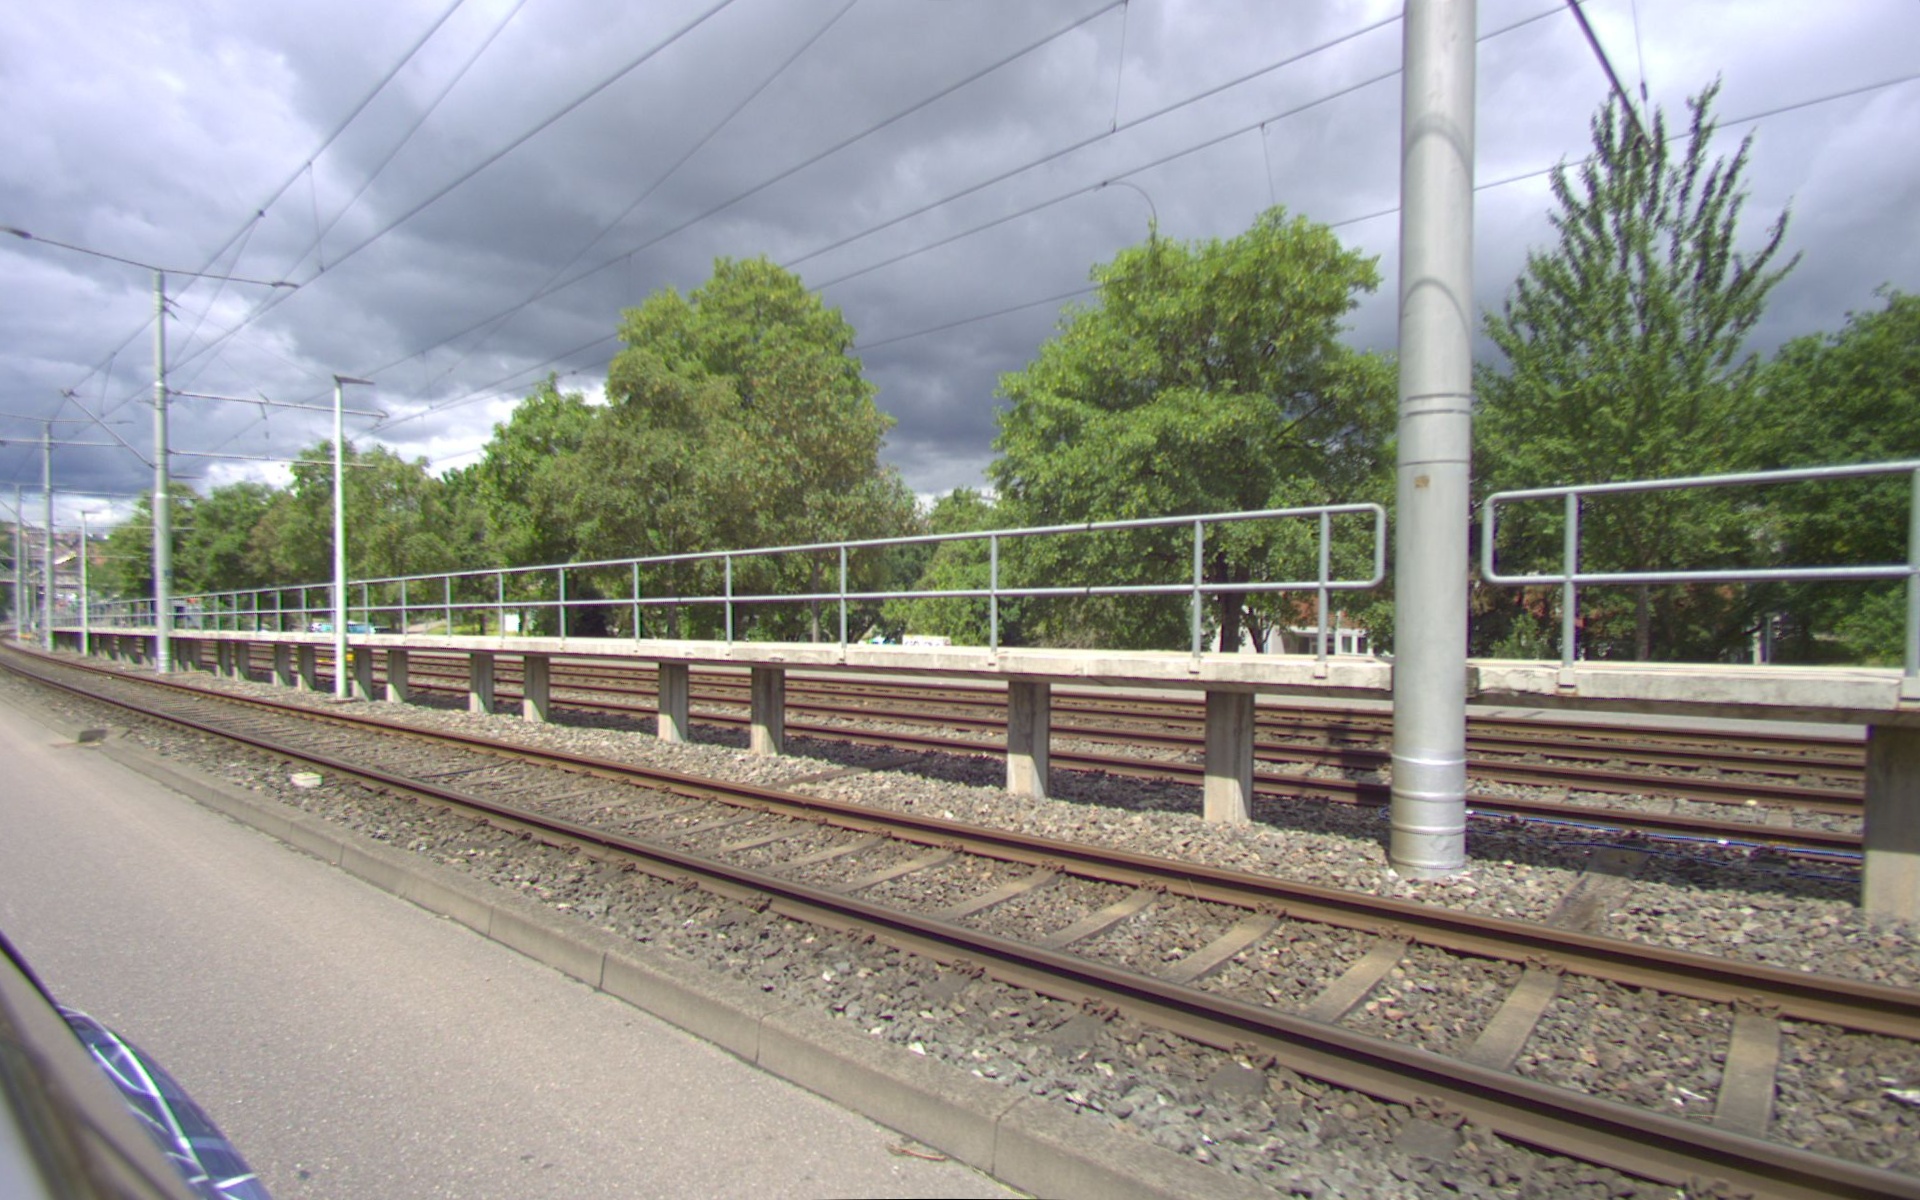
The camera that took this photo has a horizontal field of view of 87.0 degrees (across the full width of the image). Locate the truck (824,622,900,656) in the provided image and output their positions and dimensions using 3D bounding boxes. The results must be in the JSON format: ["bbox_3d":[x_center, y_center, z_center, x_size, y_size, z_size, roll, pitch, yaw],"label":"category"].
[{"bbox_3d":[-8.776,3.521,91.109,6.525,2.877,2.681,3,-3,-44],"label":"truck"}]
